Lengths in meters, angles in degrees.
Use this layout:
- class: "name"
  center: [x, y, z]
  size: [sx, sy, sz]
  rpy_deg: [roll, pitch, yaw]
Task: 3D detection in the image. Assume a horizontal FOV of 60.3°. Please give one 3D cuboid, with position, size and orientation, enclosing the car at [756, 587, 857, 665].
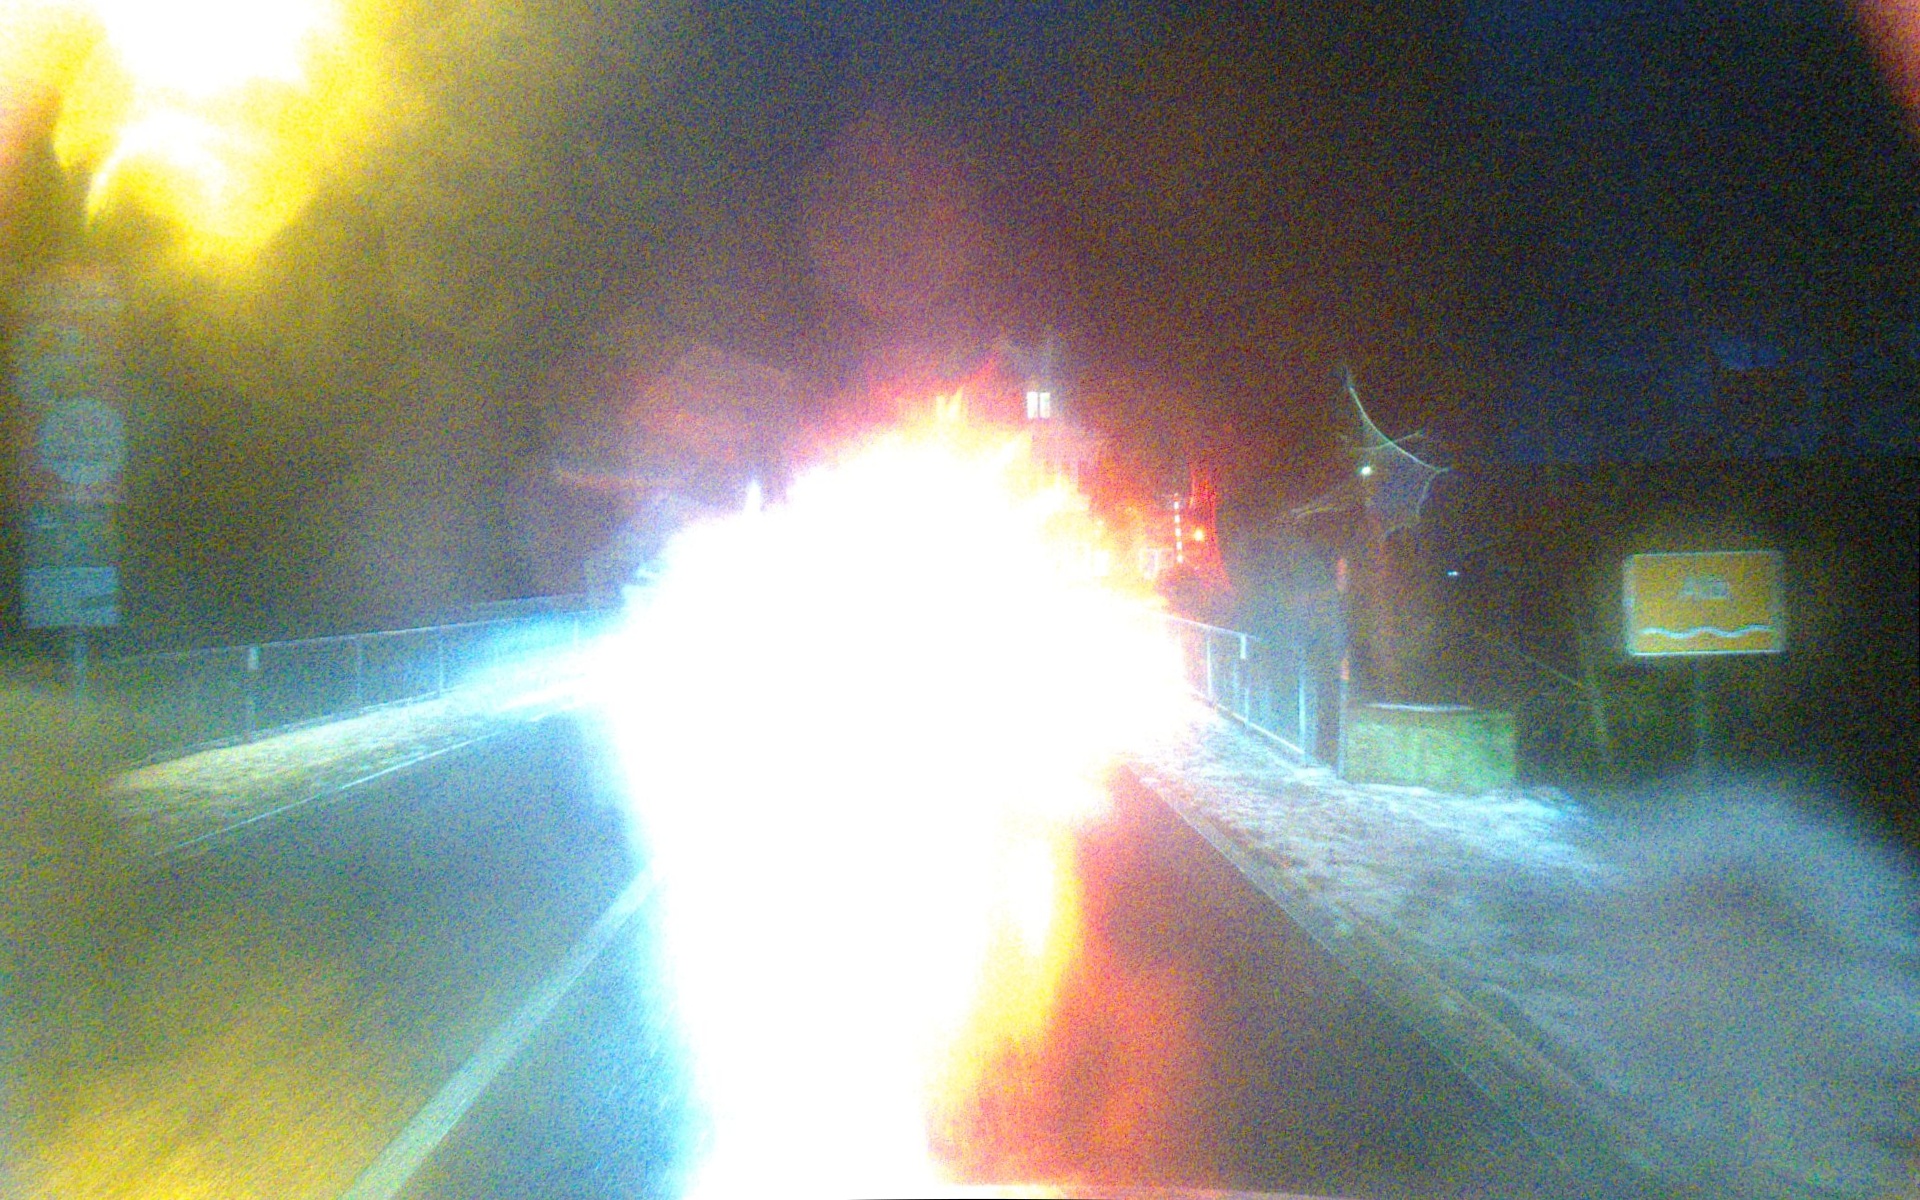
- class: "car"
  center: [-3.520, 0.582, 38.667]
  size: [1.836, 1.572, 4.355]
  rpy_deg: [-4, 0, 0]

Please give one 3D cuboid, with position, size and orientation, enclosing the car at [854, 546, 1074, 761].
- class: "car"
  center: [0.058, 0.396, 15.263]
  size: [1.754, 1.710, 3.905]
  rpy_deg: [-1, 1, 1]
